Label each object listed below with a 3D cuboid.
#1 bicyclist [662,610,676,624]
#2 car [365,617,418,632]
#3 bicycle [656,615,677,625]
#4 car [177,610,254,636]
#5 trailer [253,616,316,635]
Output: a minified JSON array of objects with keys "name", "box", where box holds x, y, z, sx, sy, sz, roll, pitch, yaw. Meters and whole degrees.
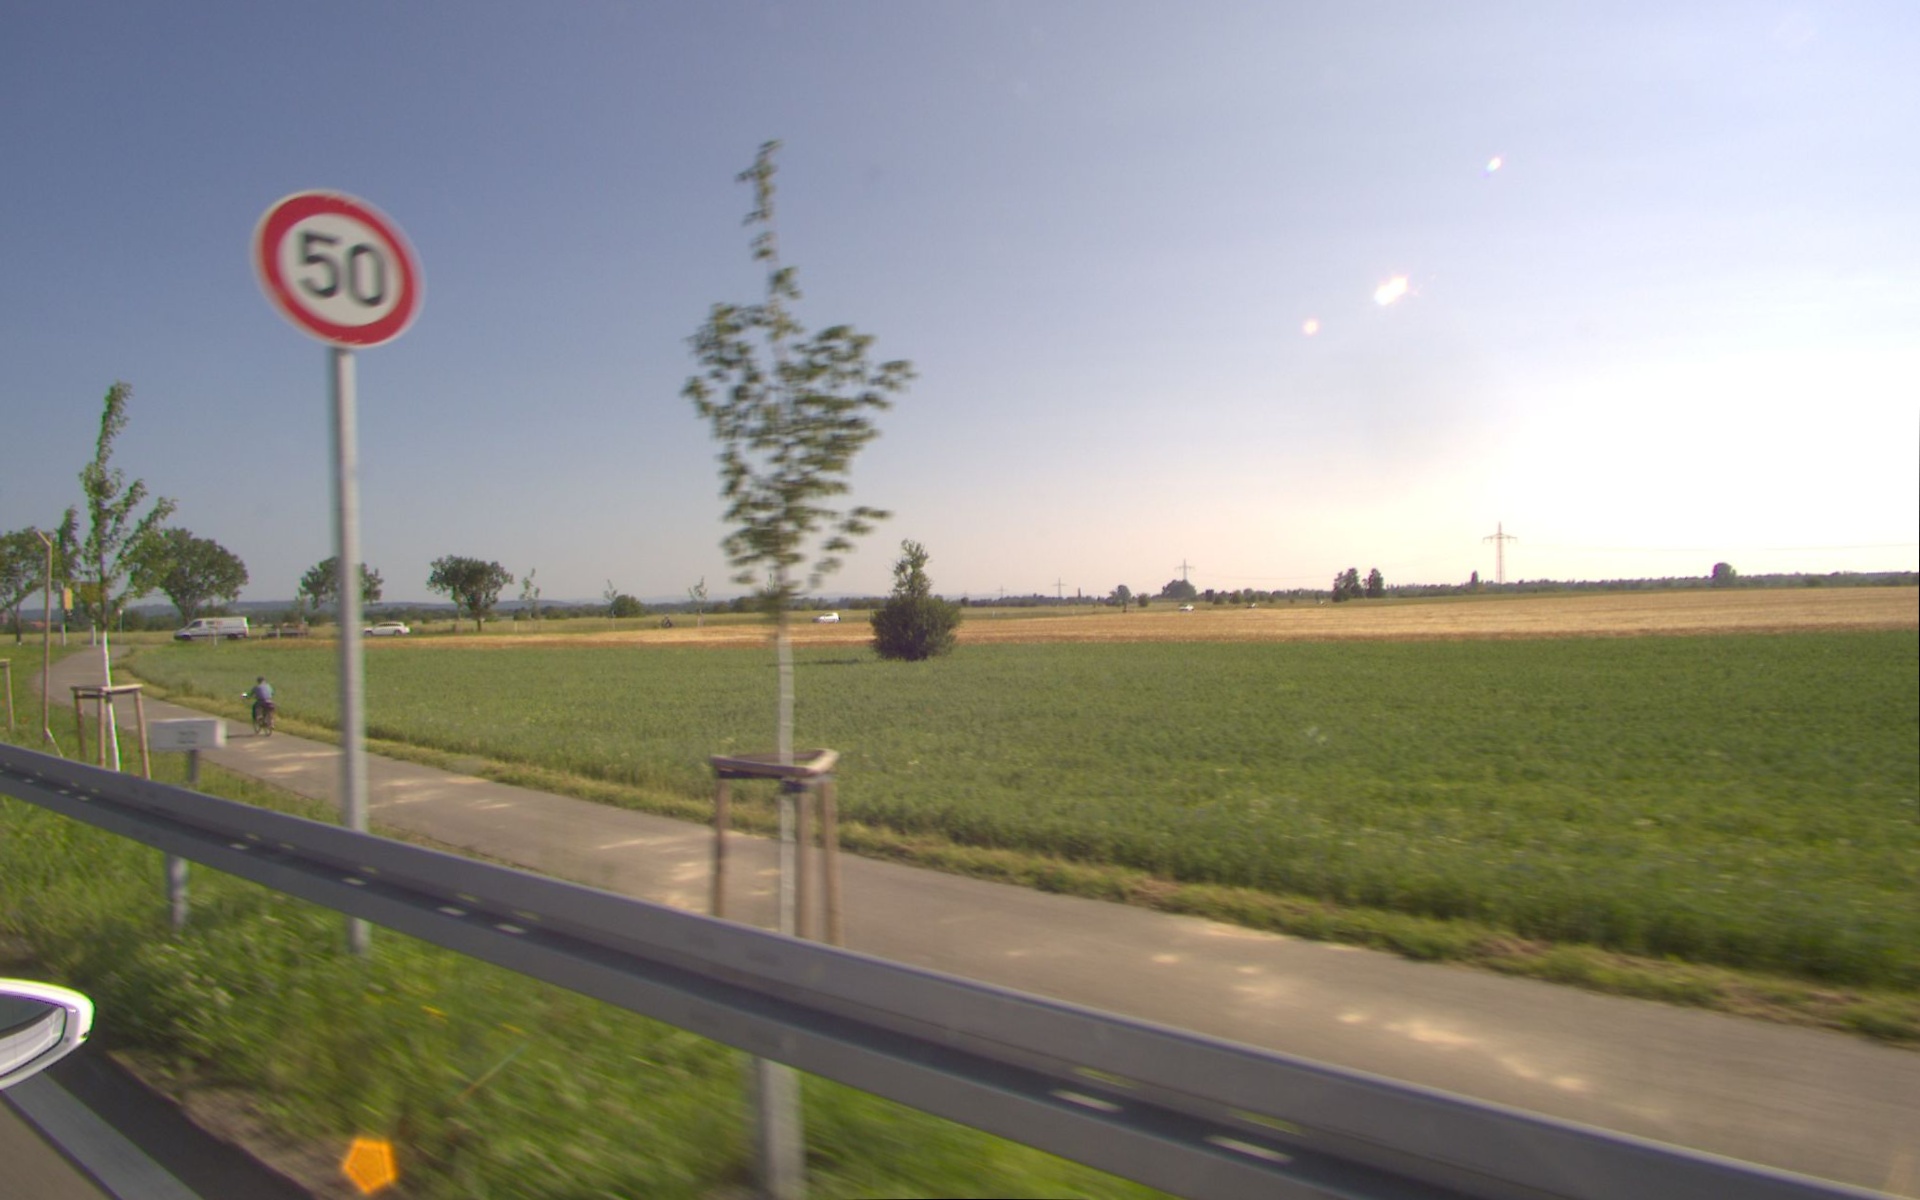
[{"name":"bicyclist","box":[-33.841,1.941,116.263,1.266,1.622,1.157,0,0,-35]},{"name":"car","box":[-60.900,2.597,107.263,4.823,1.529,1.987,1,-3,-35]},{"name":"bicycle","box":[-34.059,2.326,116.298,2.135,1.201,0.884,0,-2,-35]},{"name":"car","box":[-73.383,2.265,98.826,5.895,2.524,1.989,1,-2,-32]},{"name":"trailer","box":[-68.651,2.585,101.823,5.205,1.776,1.943,-1,-1,-32]}]
